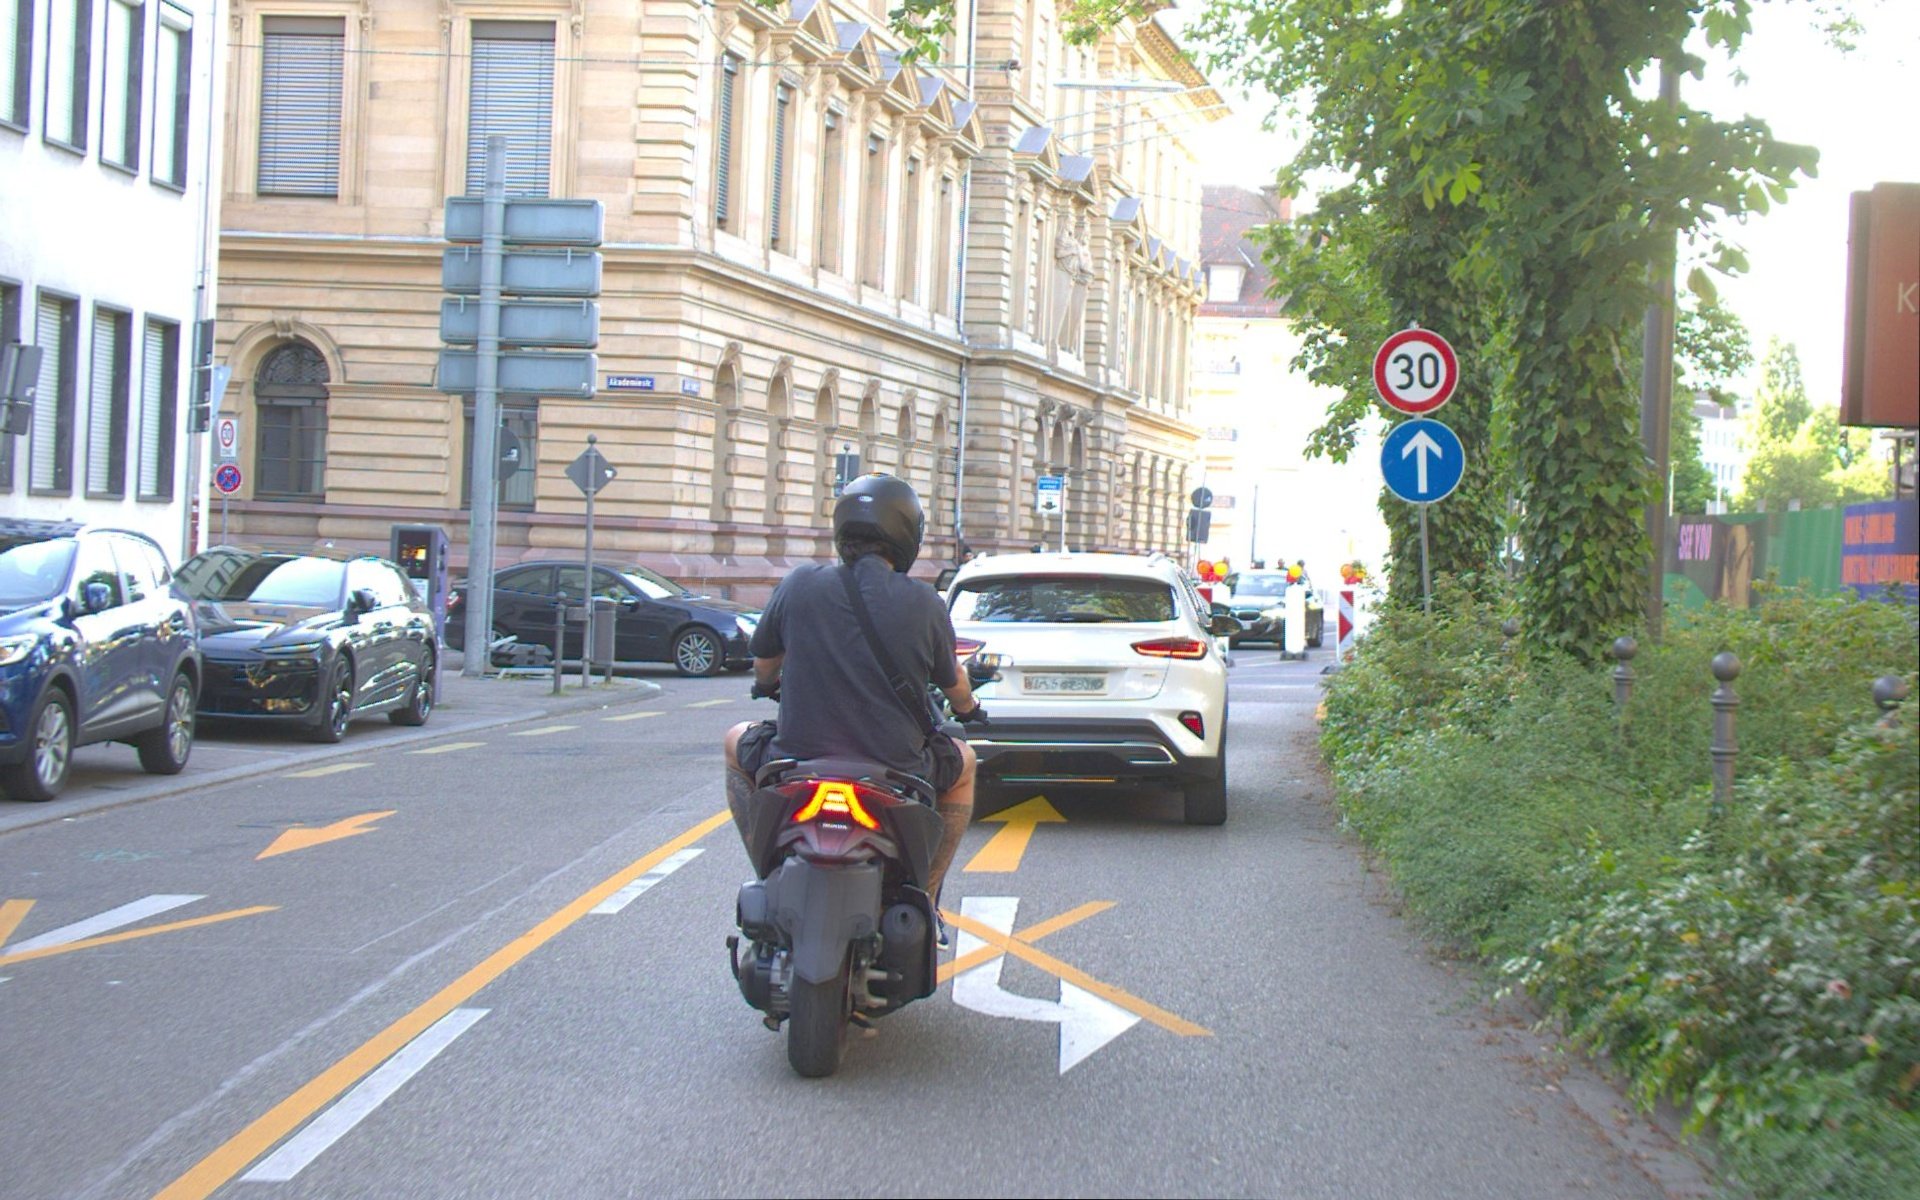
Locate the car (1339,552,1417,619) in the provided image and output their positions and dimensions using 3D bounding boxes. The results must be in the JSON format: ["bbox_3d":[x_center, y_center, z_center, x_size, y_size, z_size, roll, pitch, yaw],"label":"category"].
[{"bbox_3d":[11.223,-0.403,92.207,1.994,1.689,4.398,2,1,7],"label":"car"}]

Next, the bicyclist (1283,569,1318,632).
[{"bbox_3d":[8.511,0.004,85.889,0.629,1.548,0.731,2,1,23],"label":"bicyclist"}]

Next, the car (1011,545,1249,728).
[{"bbox_3d":[1.620,0.292,31.406,1.841,1.458,4.056,3,1,6],"label":"car"}]

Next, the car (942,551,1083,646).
[{"bbox_3d":[0.974,-0.053,60.901,1.994,1.561,4.287,2,1,7],"label":"car"}]

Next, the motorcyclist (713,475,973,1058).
[{"bbox_3d":[-0.342,0.476,10.230,0.657,1.645,0.651,3,1,-1],"label":"motorcyclist"}]

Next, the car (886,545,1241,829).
[{"bbox_3d":[0.637,0.425,20.077,1.851,1.475,4.057,0,1,3],"label":"car"}]

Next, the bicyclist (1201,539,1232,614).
[{"bbox_3d":[5.763,-0.528,77.273,0.566,1.661,0.834,2,1,10],"label":"bicyclist"}]

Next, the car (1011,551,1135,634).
[{"bbox_3d":[2.240,-0.165,66.944,1.994,1.523,4.183,2,1,7],"label":"car"}]

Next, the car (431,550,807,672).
[{"bbox_3d":[-4.240,0.114,42.935,4.316,1.385,1.775,1,1,13],"label":"car"}]

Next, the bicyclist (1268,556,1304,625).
[{"bbox_3d":[7.753,-0.236,81.743,0.629,1.608,0.869,2,1,18],"label":"bicyclist"}]

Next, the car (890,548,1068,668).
[{"bbox_3d":[0.296,0.061,43.699,1.735,1.416,4.427,-1,1,7],"label":"car"}]

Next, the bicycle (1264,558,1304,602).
[{"bbox_3d":[7.719,-0.478,81.812,0.533,1.031,1.905,2,1,18],"label":"bicycle"}]

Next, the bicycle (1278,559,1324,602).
[{"bbox_3d":[8.519,-0.491,85.759,0.533,1.031,2.033,2,1,23],"label":"bicycle"}]

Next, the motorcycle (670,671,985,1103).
[{"bbox_3d":[-0.364,0.797,10.185,0.796,1.062,1.725,3,1,0],"label":"motorcycle"}]

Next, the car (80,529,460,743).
[{"bbox_3d":[-5.507,0.233,28.062,1.824,1.498,4.760,3,1,3],"label":"car"}]

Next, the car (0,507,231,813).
[{"bbox_3d":[-5.996,0.266,20.885,1.934,1.662,4.346,2,1,3],"label":"car"}]
